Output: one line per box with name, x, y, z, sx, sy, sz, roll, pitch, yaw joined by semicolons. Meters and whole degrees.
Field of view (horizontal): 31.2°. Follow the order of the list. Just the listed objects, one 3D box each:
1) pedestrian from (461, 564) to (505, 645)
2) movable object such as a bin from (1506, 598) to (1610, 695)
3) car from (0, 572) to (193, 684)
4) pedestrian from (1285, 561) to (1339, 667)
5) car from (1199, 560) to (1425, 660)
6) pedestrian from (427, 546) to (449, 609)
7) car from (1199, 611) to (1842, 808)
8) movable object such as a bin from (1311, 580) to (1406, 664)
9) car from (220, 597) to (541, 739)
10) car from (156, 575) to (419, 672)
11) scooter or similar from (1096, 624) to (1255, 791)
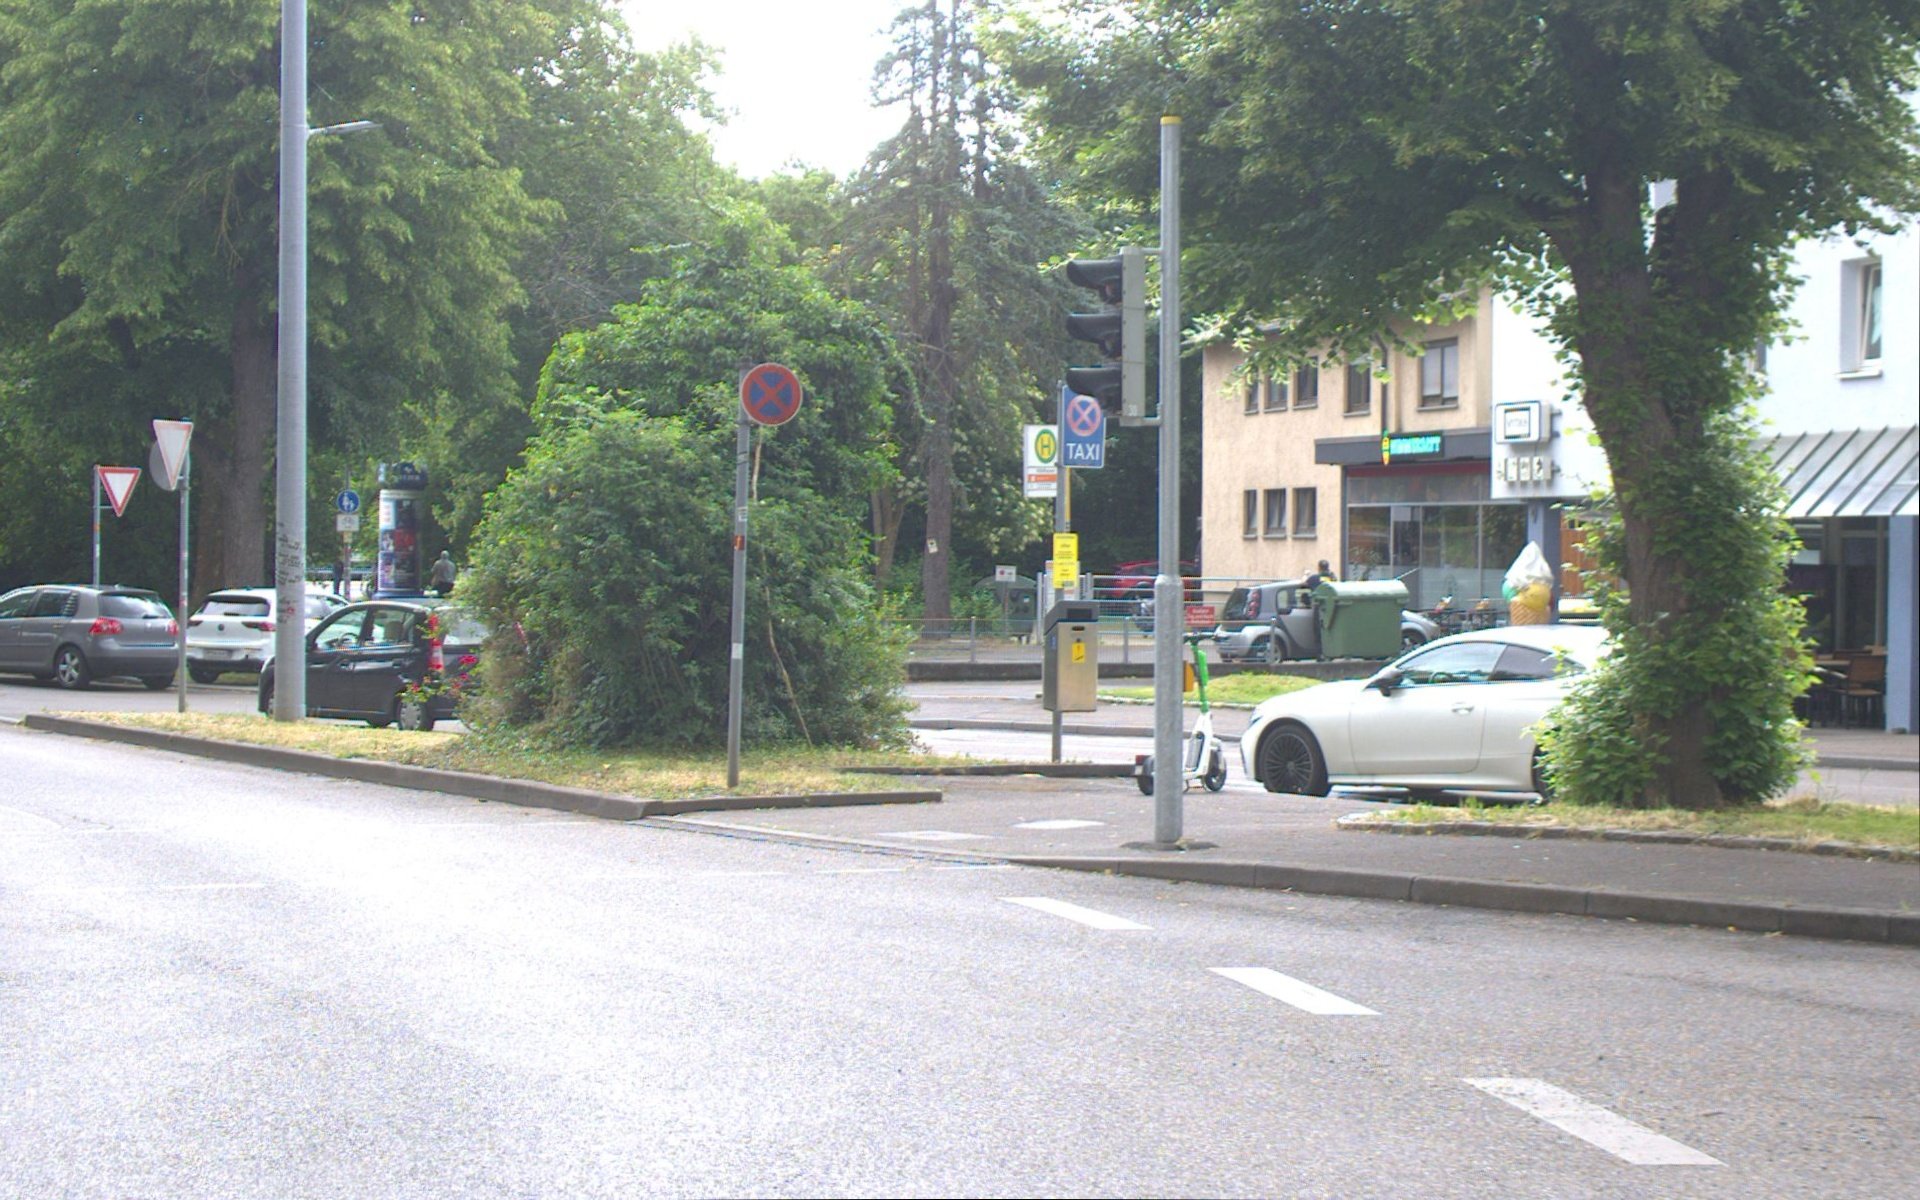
pedestrian;-9.221;0.076;66.482;0.683;1.546;0.743;0;1;-20
movable object such as a bin;8.840;0.677;50.868;1.214;1.411;1.095;0;0;-10
car;-13.174;0.376;49.798;4.108;1.424;1.730;3;2;36
pedestrian;5.790;0.229;56.632;0.687;1.723;0.611;0;0;-19
car;5.882;0.155;57.579;3.412;1.625;1.625;0;0;-13
pedestrian;-12.744;-0.548;83.922;0.510;1.526;0.778;1;0;-10
car;4.325;0.792;27.128;1.995;1.382;4.785;0;0;-43
movable object such as a bin;6.432;0.354;55.537;1.216;1.340;0.995;0;0;-19
car;-6.359;0.706;37.557;3.491;1.399;1.569;2;1;40
car;-10.131;0.324;52.090;1.761;1.376;4.256;1;1;24
scooter or similar;1.561;0.777;24.726;0.412;1.163;1.359;1;-2;38
